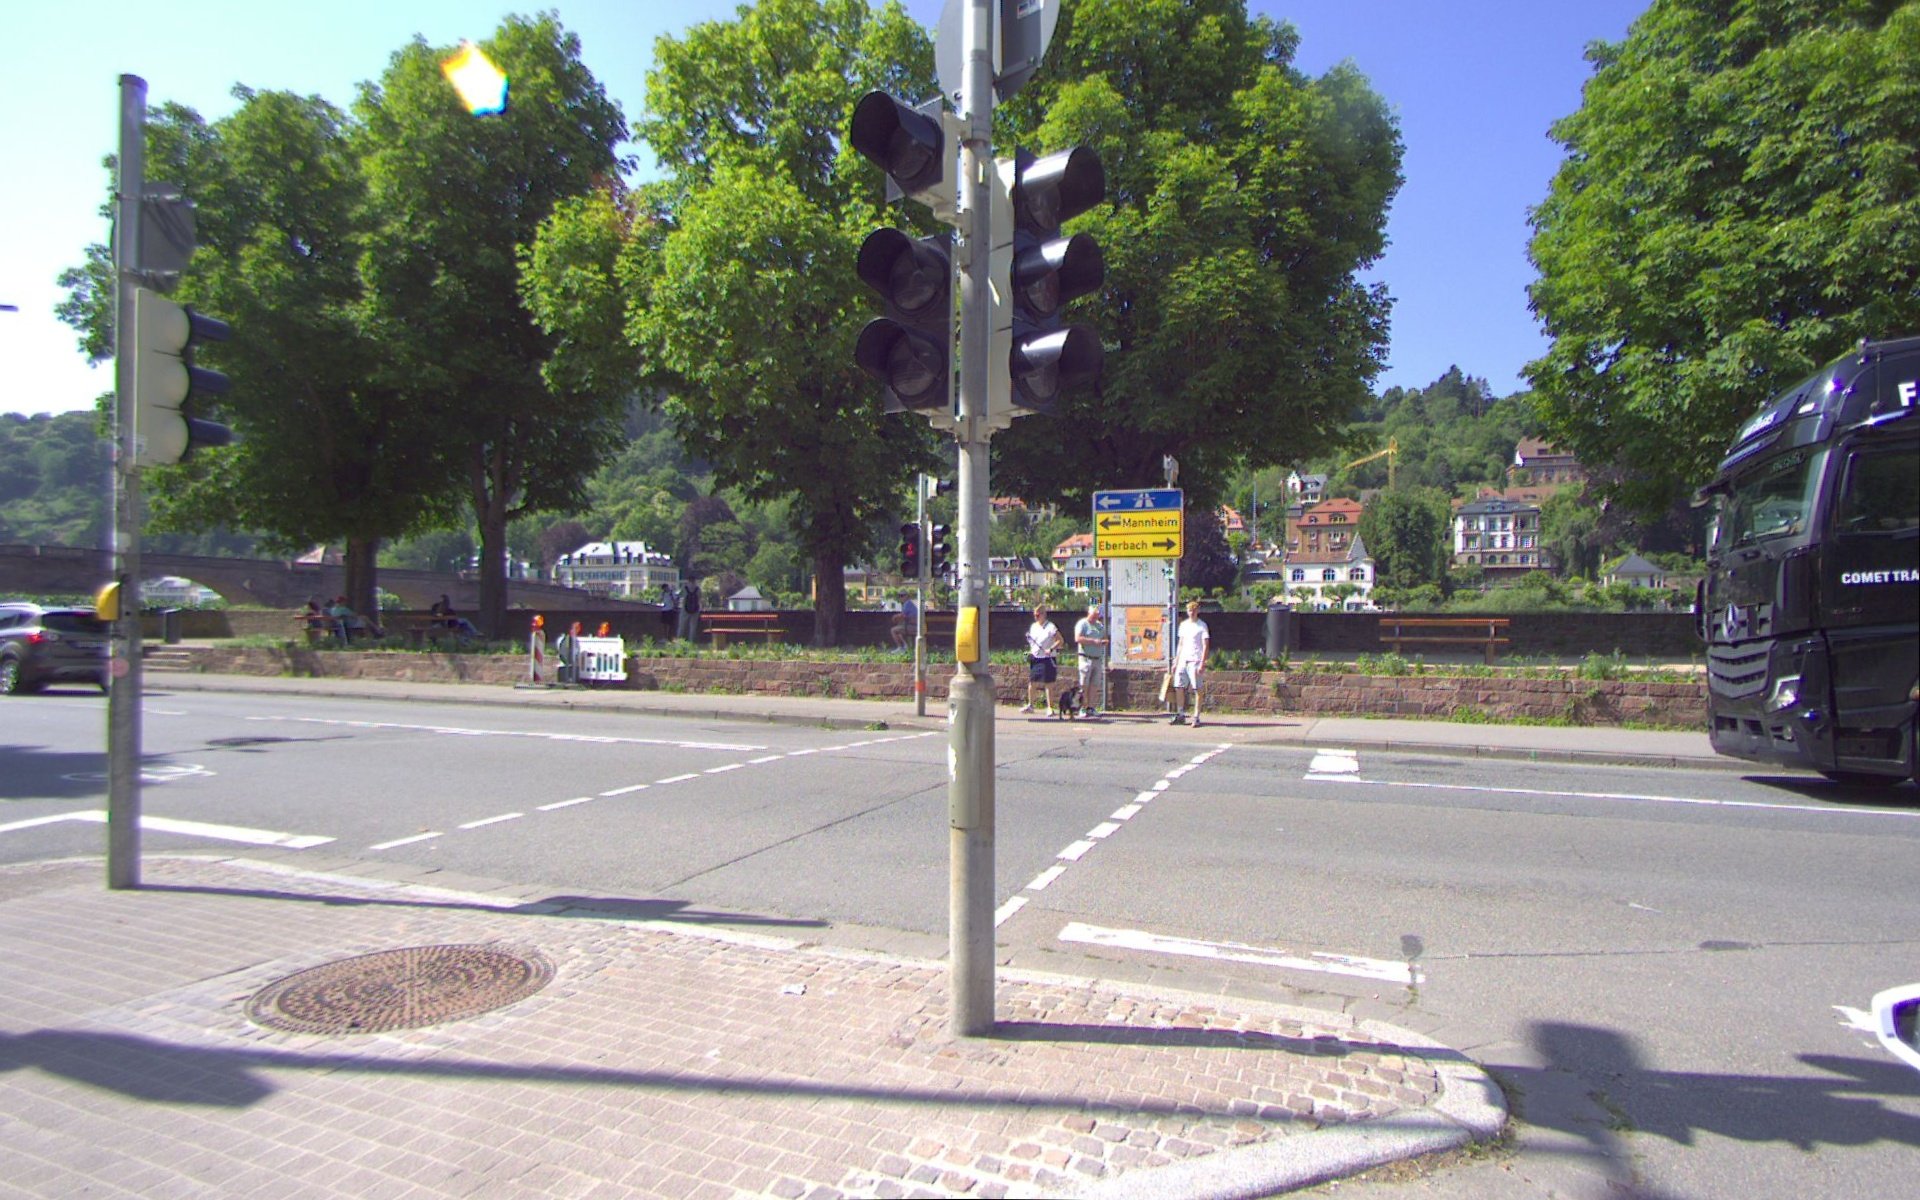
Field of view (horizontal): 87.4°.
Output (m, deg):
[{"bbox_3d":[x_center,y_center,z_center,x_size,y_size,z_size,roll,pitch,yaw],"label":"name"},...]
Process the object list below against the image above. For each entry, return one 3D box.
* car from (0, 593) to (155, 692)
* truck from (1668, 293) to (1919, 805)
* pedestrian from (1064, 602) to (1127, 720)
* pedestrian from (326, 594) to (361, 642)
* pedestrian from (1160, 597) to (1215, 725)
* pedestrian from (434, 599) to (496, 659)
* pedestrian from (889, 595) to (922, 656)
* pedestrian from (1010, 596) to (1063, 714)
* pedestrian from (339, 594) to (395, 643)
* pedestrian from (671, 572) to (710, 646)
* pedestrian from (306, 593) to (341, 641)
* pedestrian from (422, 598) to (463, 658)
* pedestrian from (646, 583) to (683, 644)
[{"bbox_3d":[-18.335,0.808,19.719,4.322,1.776,1.845,1,-4,20],"label":"car"},{"bbox_3d":[10.025,-0.347,8.673,5.817,4.124,2.840,0,-3,22],"label":"truck"},{"bbox_3d":[2.119,0.931,15.719,0.711,1.793,0.683,1,-1,-38],"label":"pedestrian"},{"bbox_3d":[-16.648,0.495,27.124,0.460,1.287,0.631,0,-2,26],"label":"pedestrian"},{"bbox_3d":[3.335,0.877,14.694,0.691,1.825,0.580,0,-1,22],"label":"pedestrian"},{"bbox_3d":[-12.622,0.746,25.652,0.460,1.499,1.384,0,-2,26],"label":"pedestrian"},{"bbox_3d":[-1.107,0.526,20.553,0.630,1.244,0.414,0,-3,4],"label":"pedestrian"},{"bbox_3d":[1.226,0.865,16.180,0.623,1.826,0.722,-2,1,-14],"label":"pedestrian"},{"bbox_3d":[-16.029,0.520,27.176,0.460,1.287,1.223,0,-2,26],"label":"pedestrian"},{"bbox_3d":[-7.010,0.247,26.118,0.750,1.882,0.757,1,-2,0],"label":"pedestrian"},{"bbox_3d":[-17.431,0.472,27.504,0.460,1.287,0.631,0,-2,26],"label":"pedestrian"},{"bbox_3d":[-13.213,0.717,25.655,0.460,1.513,0.804,0,-2,26],"label":"pedestrian"},{"bbox_3d":[-8.660,0.413,29.461,0.696,1.754,0.757,1,-2,17],"label":"pedestrian"}]
